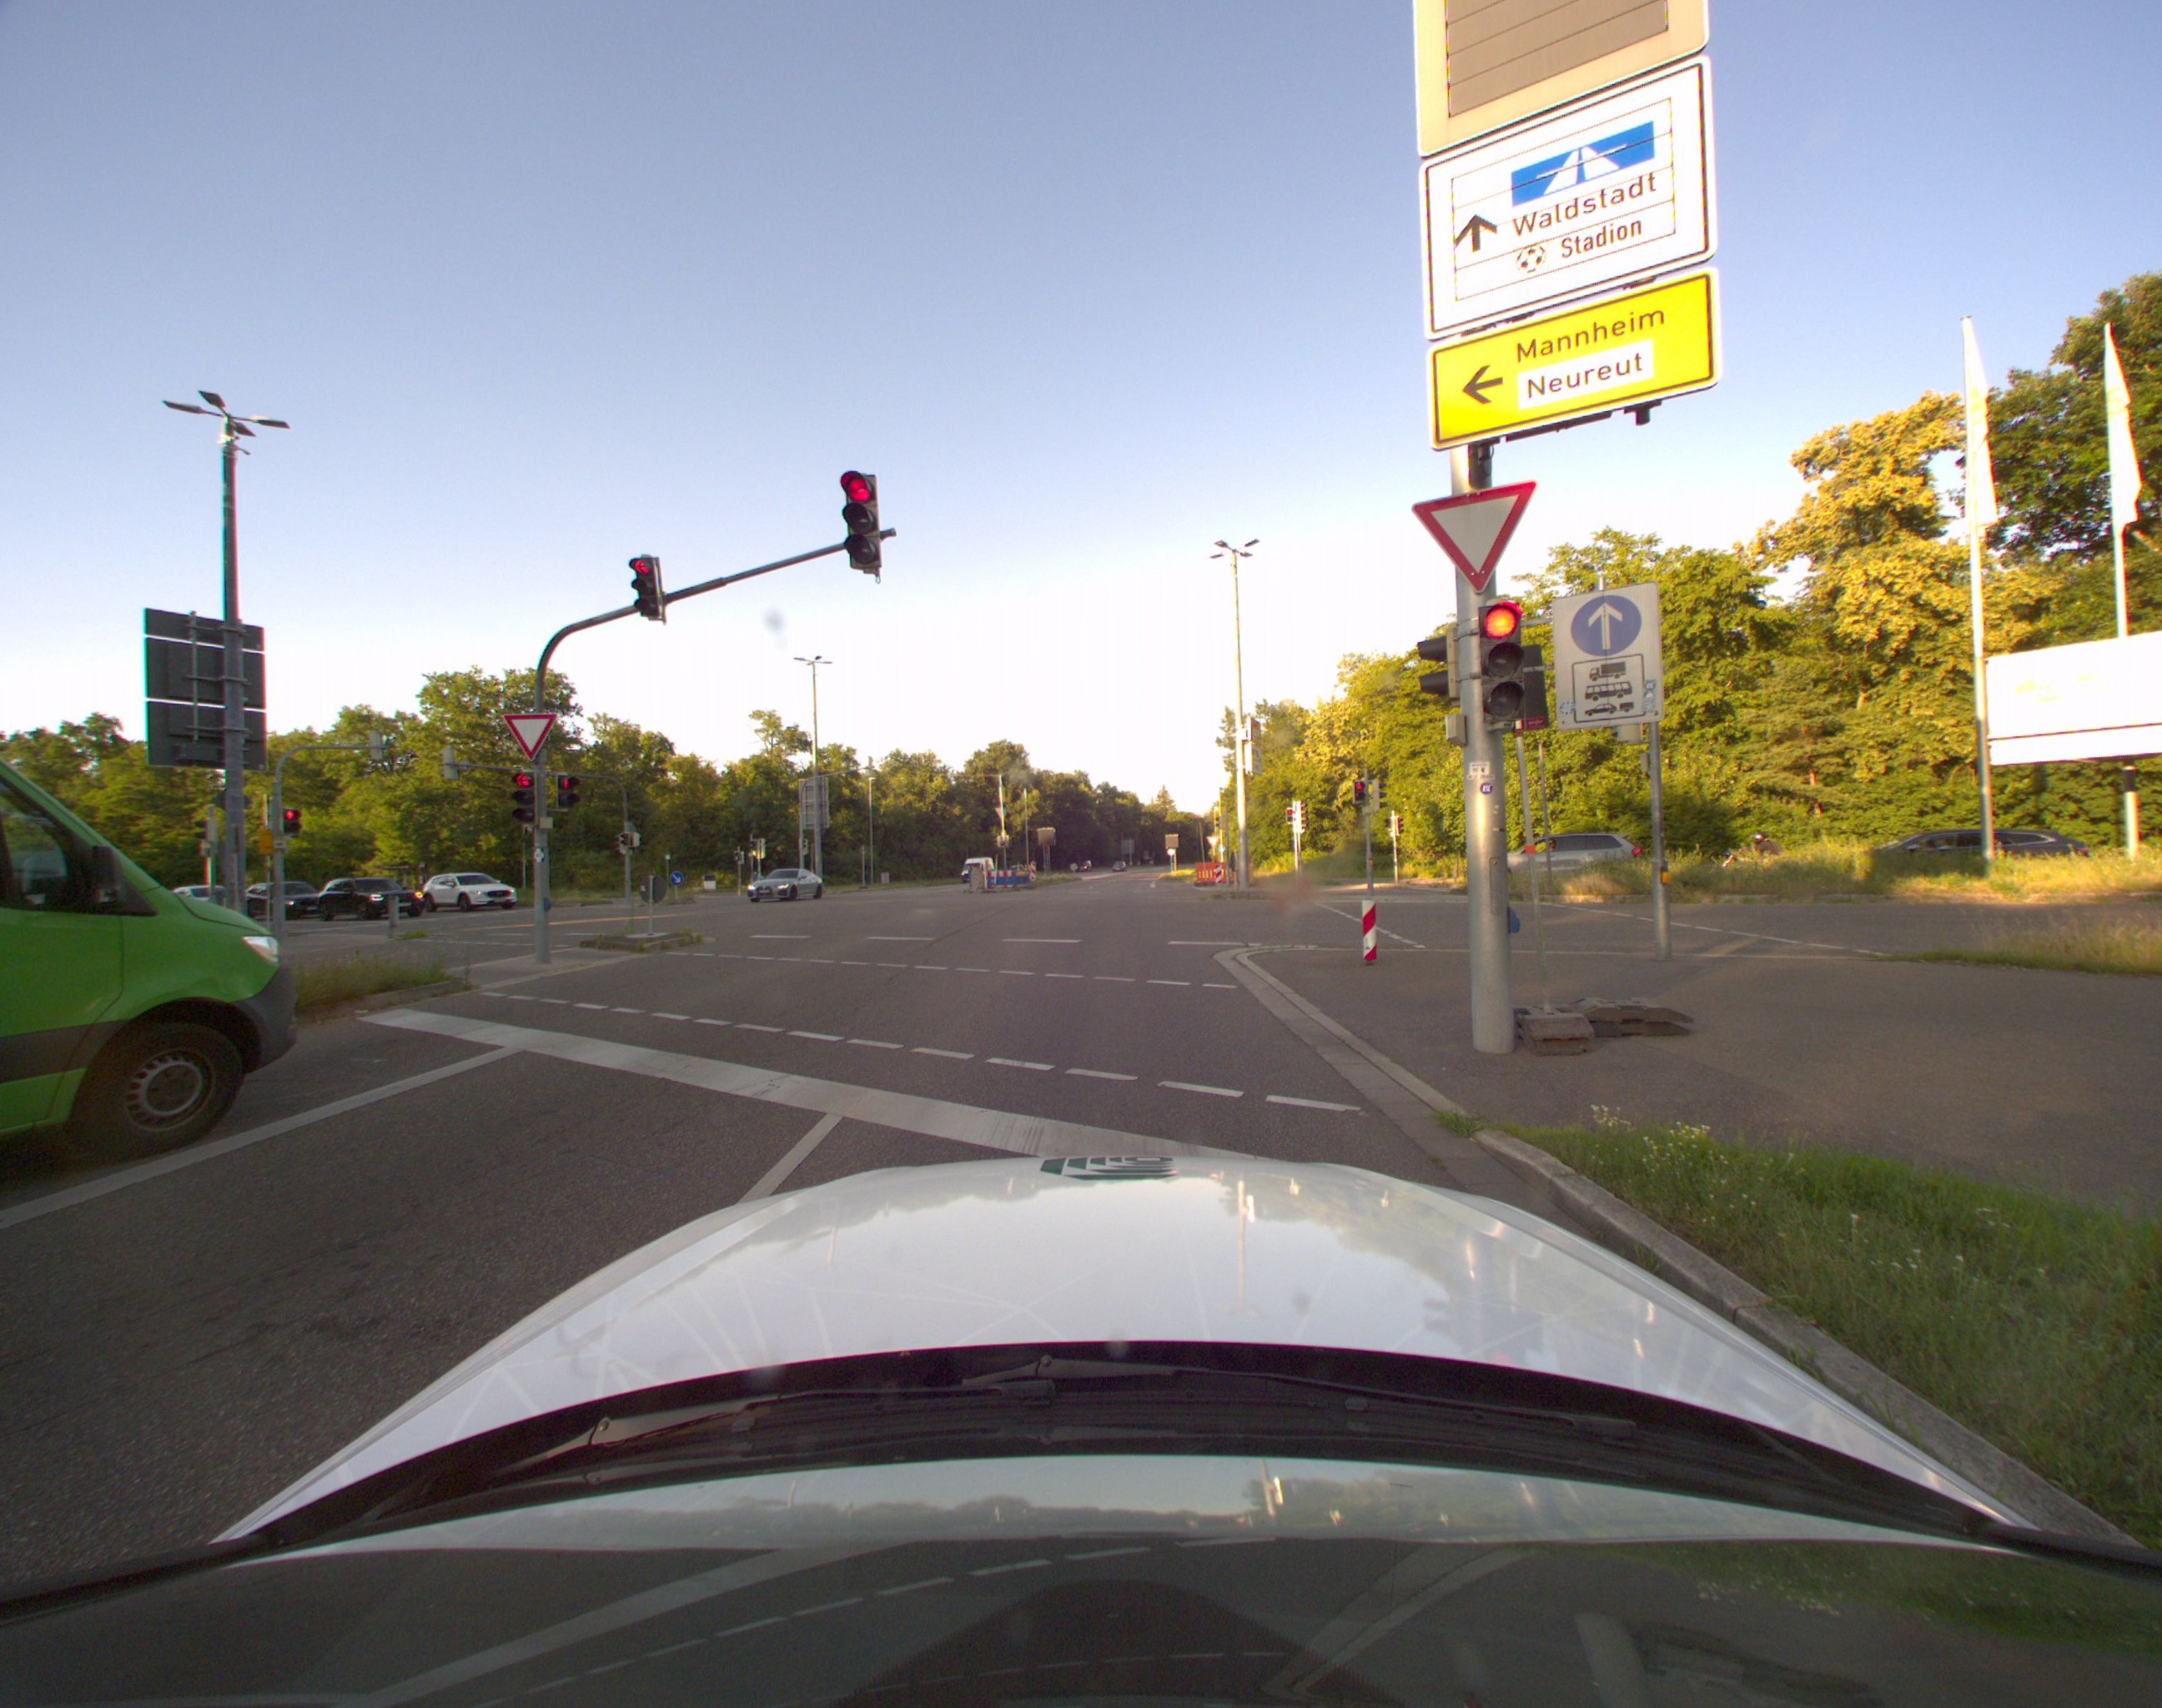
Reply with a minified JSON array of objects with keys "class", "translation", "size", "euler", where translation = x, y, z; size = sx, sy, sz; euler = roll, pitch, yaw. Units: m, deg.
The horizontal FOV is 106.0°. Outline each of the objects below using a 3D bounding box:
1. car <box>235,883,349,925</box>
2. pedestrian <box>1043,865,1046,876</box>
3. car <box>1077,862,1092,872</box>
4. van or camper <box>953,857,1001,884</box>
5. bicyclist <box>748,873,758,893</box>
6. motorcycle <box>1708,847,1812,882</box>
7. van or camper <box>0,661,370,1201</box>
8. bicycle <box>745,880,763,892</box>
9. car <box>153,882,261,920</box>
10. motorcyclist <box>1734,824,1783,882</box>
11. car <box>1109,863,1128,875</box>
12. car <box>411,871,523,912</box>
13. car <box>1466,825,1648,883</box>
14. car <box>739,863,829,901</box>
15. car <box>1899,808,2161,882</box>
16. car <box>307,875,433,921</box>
[{"class":"car","translation":[-33.926,2.153,35.024],"size":[4.205,1.640,2.011],"euler":[-2,0,23]},{"class":"pedestrian","translation":[-6.294,2.812,139.481],"size":[0.519,2.014,0.600],"euler":[0,-1,2]},{"class":"car","translation":[0.619,2.205,143.470],"size":[1.981,1.640,4.011],"euler":[-2,0,9]},{"class":"van or camper","translation":[-10.974,1.684,86.440],"size":[2.867,2.652,7.143],"euler":[-2,0,11]},{"class":"bicyclist","translation":[-23.387,2.055,58.107],"size":[0.522,1.387,0.402],"euler":[-1,-1,-40]},{"class":"motorcycle","translation":[19.185,0.302,23.065],"size":[2.125,0.910,0.666],"euler":[-2,0,23]},{"class":"van or camper","translation":[-5.858,0.362,2.552],"size":[1.987,2.421,5.896],"euler":[-2,0,1]},{"class":"bicycle","translation":[-23.345,2.271,58.124],"size":[1.112,0.825,0.408],"euler":[-2,-1,-39]},{"class":"car","translation":[-41.258,2.210,38.465],"size":[4.207,1.640,2.011],"euler":[-2,0,21]},{"class":"motorcyclist","translation":[19.167,-0.037,23.066],"size":[0.878,1.595,0.658],"euler":[-2,-1,23]},{"class":"car","translation":[5.776,2.269,125.124],"size":[1.979,1.640,4.016],"euler":[-3,0,14]},{"class":"car","translation":[-26.761,1.640,35.489],"size":[4.206,1.640,2.011],"euler":[-2,0,23]},{"class":"car","translation":[15.029,0.024,26.070],"size":[4.773,1.598,2.011],"euler":[-2,0,23]},{"class":"car","translation":[-12.834,1.164,35.526],"size":[1.882,1.441,4.506],"euler":[-2,0,5]},{"class":"car","translation":[21.644,-0.173,18.565],"size":[3.827,1.489,1.781],"euler":[-2,0,24]},{"class":"car","translation":[-27.554,1.698,31.550],"size":[4.206,1.640,2.011],"euler":[-2,0,23]}]
